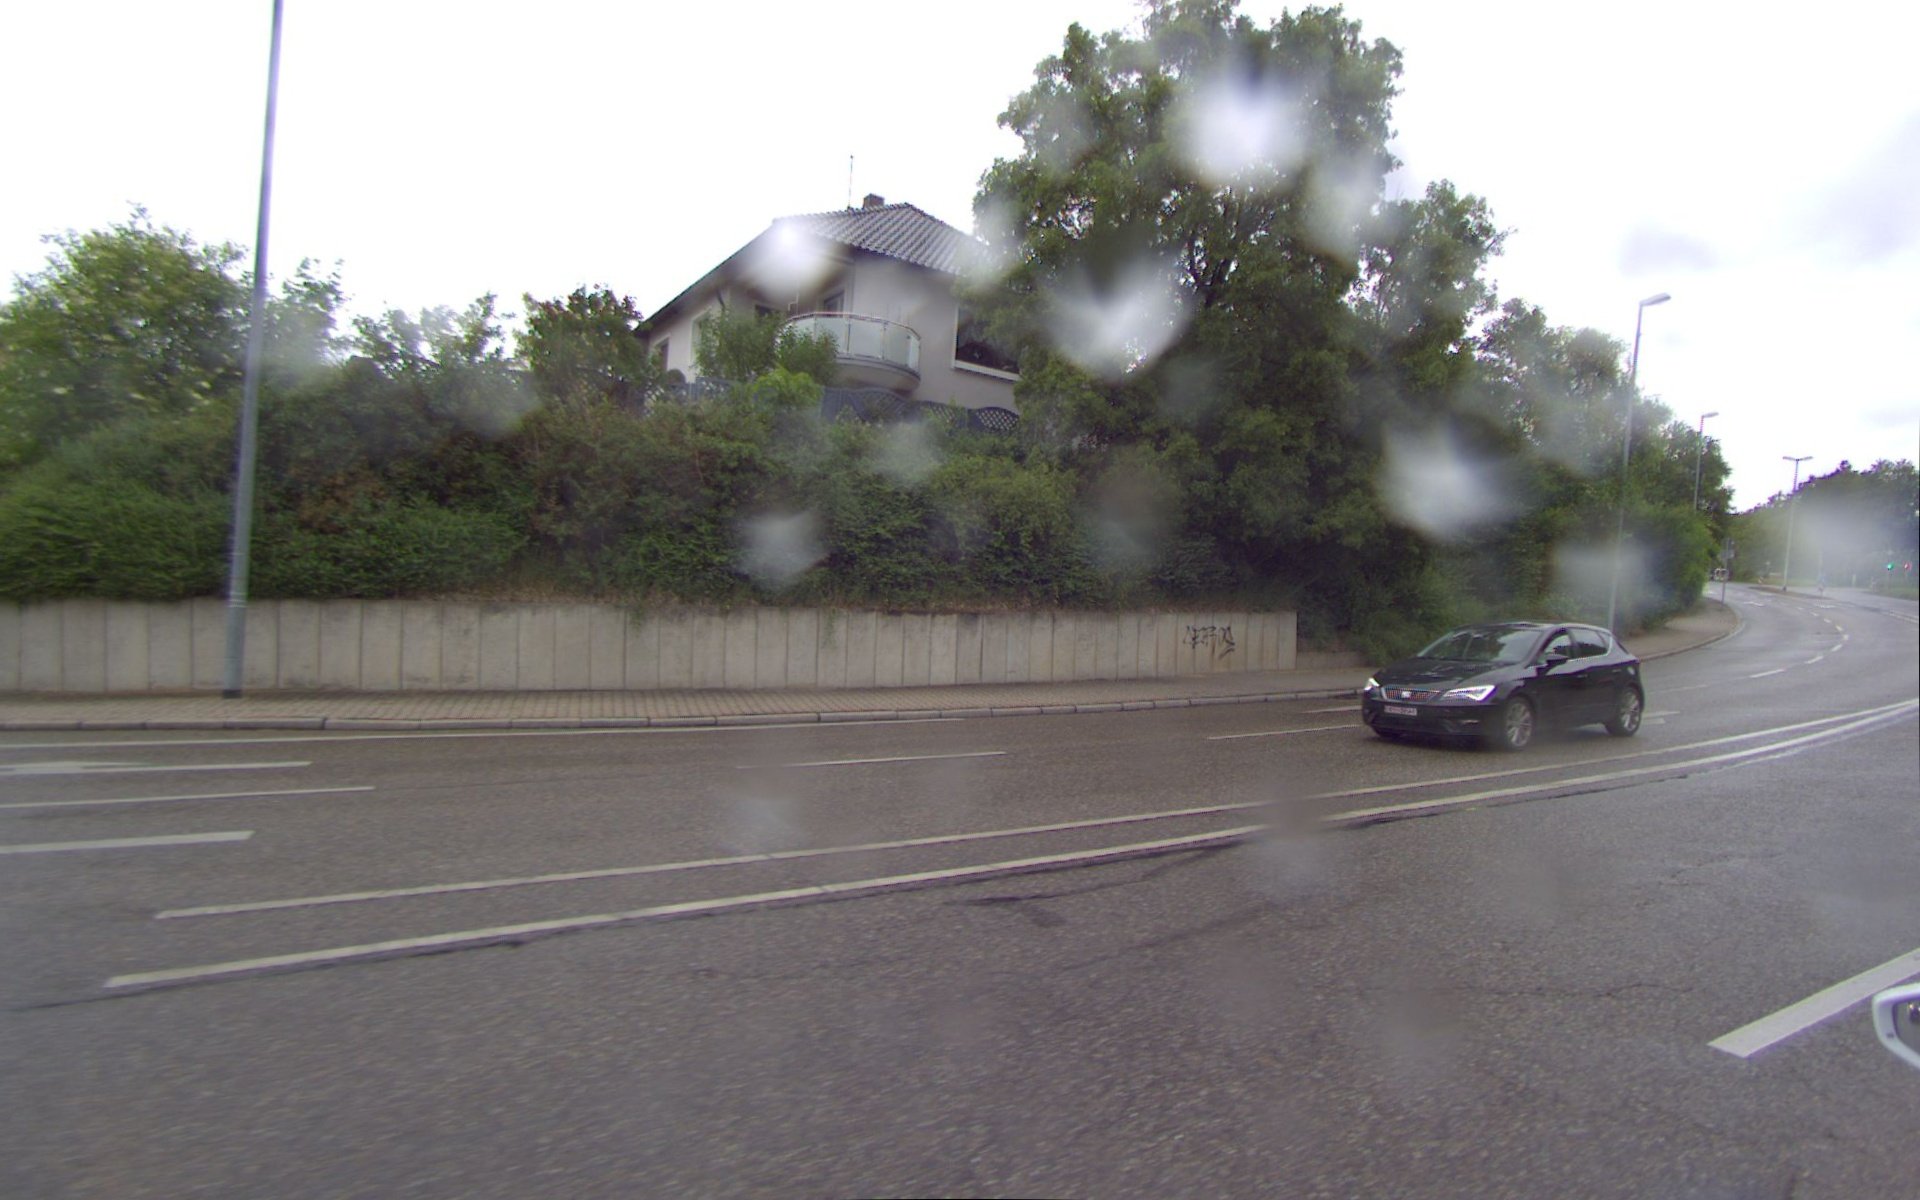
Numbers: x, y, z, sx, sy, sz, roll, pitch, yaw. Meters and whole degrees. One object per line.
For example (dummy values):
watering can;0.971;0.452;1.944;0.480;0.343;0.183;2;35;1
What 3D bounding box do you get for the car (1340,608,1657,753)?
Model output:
car;6.784;0.894;12.507;4.194;1.507;1.878;2;-1;-37
